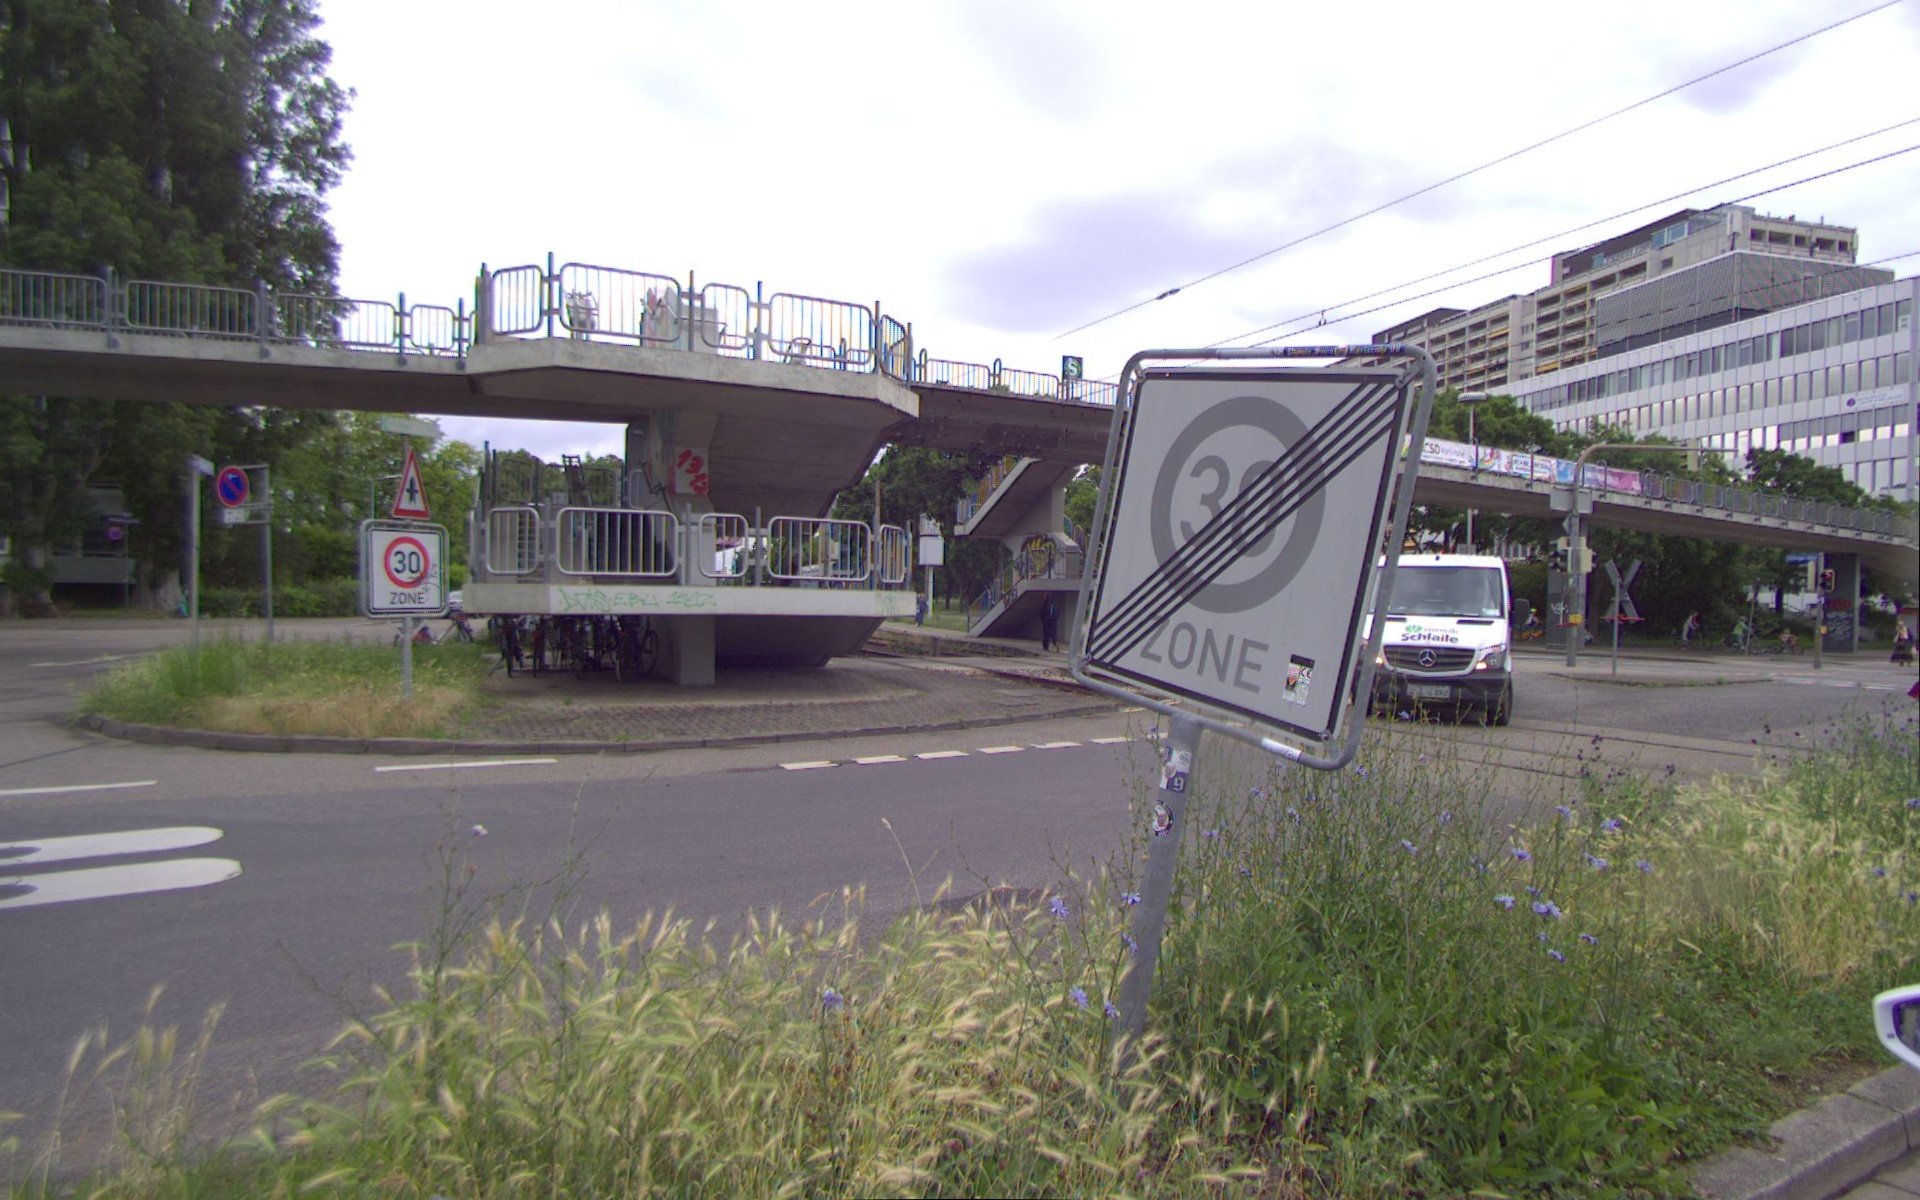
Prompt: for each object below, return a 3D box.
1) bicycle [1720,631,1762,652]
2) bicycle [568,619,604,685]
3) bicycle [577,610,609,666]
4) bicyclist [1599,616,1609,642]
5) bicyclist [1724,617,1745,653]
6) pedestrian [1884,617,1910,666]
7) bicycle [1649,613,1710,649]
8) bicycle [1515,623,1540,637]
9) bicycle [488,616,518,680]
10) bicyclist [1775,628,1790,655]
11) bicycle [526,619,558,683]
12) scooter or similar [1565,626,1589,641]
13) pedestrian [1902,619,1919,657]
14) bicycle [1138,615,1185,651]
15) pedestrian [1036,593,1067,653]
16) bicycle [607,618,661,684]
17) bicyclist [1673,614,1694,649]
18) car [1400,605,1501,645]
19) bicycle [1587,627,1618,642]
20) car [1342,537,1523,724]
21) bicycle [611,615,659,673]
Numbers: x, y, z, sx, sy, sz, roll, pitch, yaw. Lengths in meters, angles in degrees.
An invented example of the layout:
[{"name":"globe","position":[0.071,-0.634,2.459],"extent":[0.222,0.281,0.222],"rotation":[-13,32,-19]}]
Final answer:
[{"name":"bicycle","position":[36.256,1.916,46.618],"extent":[2.493,0.938,0.628],"rotation":[1,1,-31]},{"name":"bicycle","position":[-5.662,0.760,15.186],"extent":[0.389,0.897,1.632],"rotation":[1,0,-24]},{"name":"bicycle","position":[-6.410,0.649,17.519],"extent":[0.389,0.897,1.632],"rotation":[1,0,-24]},{"name":"bicyclist","position":[32.711,1.456,51.029],"extent":[0.376,1.321,0.278],"rotation":[1,1,24]},{"name":"bicyclist","position":[36.293,1.651,47.073],"extent":[0.525,1.666,0.562],"rotation":[2,0,-29]},{"name":"pedestrian","position":[33.361,1.465,35.776],"extent":[0.402,1.714,0.612],"rotation":[1,1,-43]},{"name":"bicycle","position":[34.917,1.509,48.778],"extent":[2.331,1.647,0.525],"rotation":[2,0,41]},{"name":"bicycle","position":[30.396,1.611,53.836],"extent":[0.263,0.677,1.138],"rotation":[1,1,-37]},{"name":"bicycle","position":[-6.991,0.714,15.388],"extent":[0.389,0.897,1.632],"rotation":[1,0,-24]},{"name":"bicyclist","position":[37.817,1.912,46.162],"extent":[0.372,1.197,0.403],"rotation":[0,1,-28]},{"name":"bicycle","position":[-6.472,0.766,15.529],"extent":[0.389,0.897,1.632],"rotation":[1,0,-24]},{"name":"scooter or similar","position":[31.597,1.739,51.470],"extent":[0.978,0.724,0.406],"rotation":[1,0,26]},{"name":"pedestrian","position":[41.274,1.636,43.570],"extent":[0.572,1.600,0.777],"rotation":[2,0,42]},{"name":"bicycle","position":[5.725,0.925,28.679],"extent":[0.368,0.934,2.029],"rotation":[1,0,-18]},{"name":"pedestrian","position":[2.577,0.639,28.330],"extent":[0.593,1.664,0.659],"rotation":[1,1,-25]},{"name":"bicycle","position":[-4.856,0.738,15.033],"extent":[0.387,0.897,1.741],"rotation":[1,0,-6]},{"name":"bicyclist","position":[35.072,1.513,48.680],"extent":[0.739,1.647,0.525],"rotation":[2,0,41]},{"name":"car","position":[24.009,1.190,49.260],"extent":[1.618,1.758,4.153],"rotation":[1,1,-44]},{"name":"bicycle","position":[32.667,1.759,51.048],"extent":[1.273,0.701,0.290],"rotation":[1,1,25]},{"name":"car","position":[7.198,0.436,15.284],"extent":[2.101,2.322,5.202],"rotation":[0,-1,26]},{"name":"bicycle","position":[-5.547,0.726,17.119],"extent":[0.390,0.897,1.628],"rotation":[1,0,-32]}]
